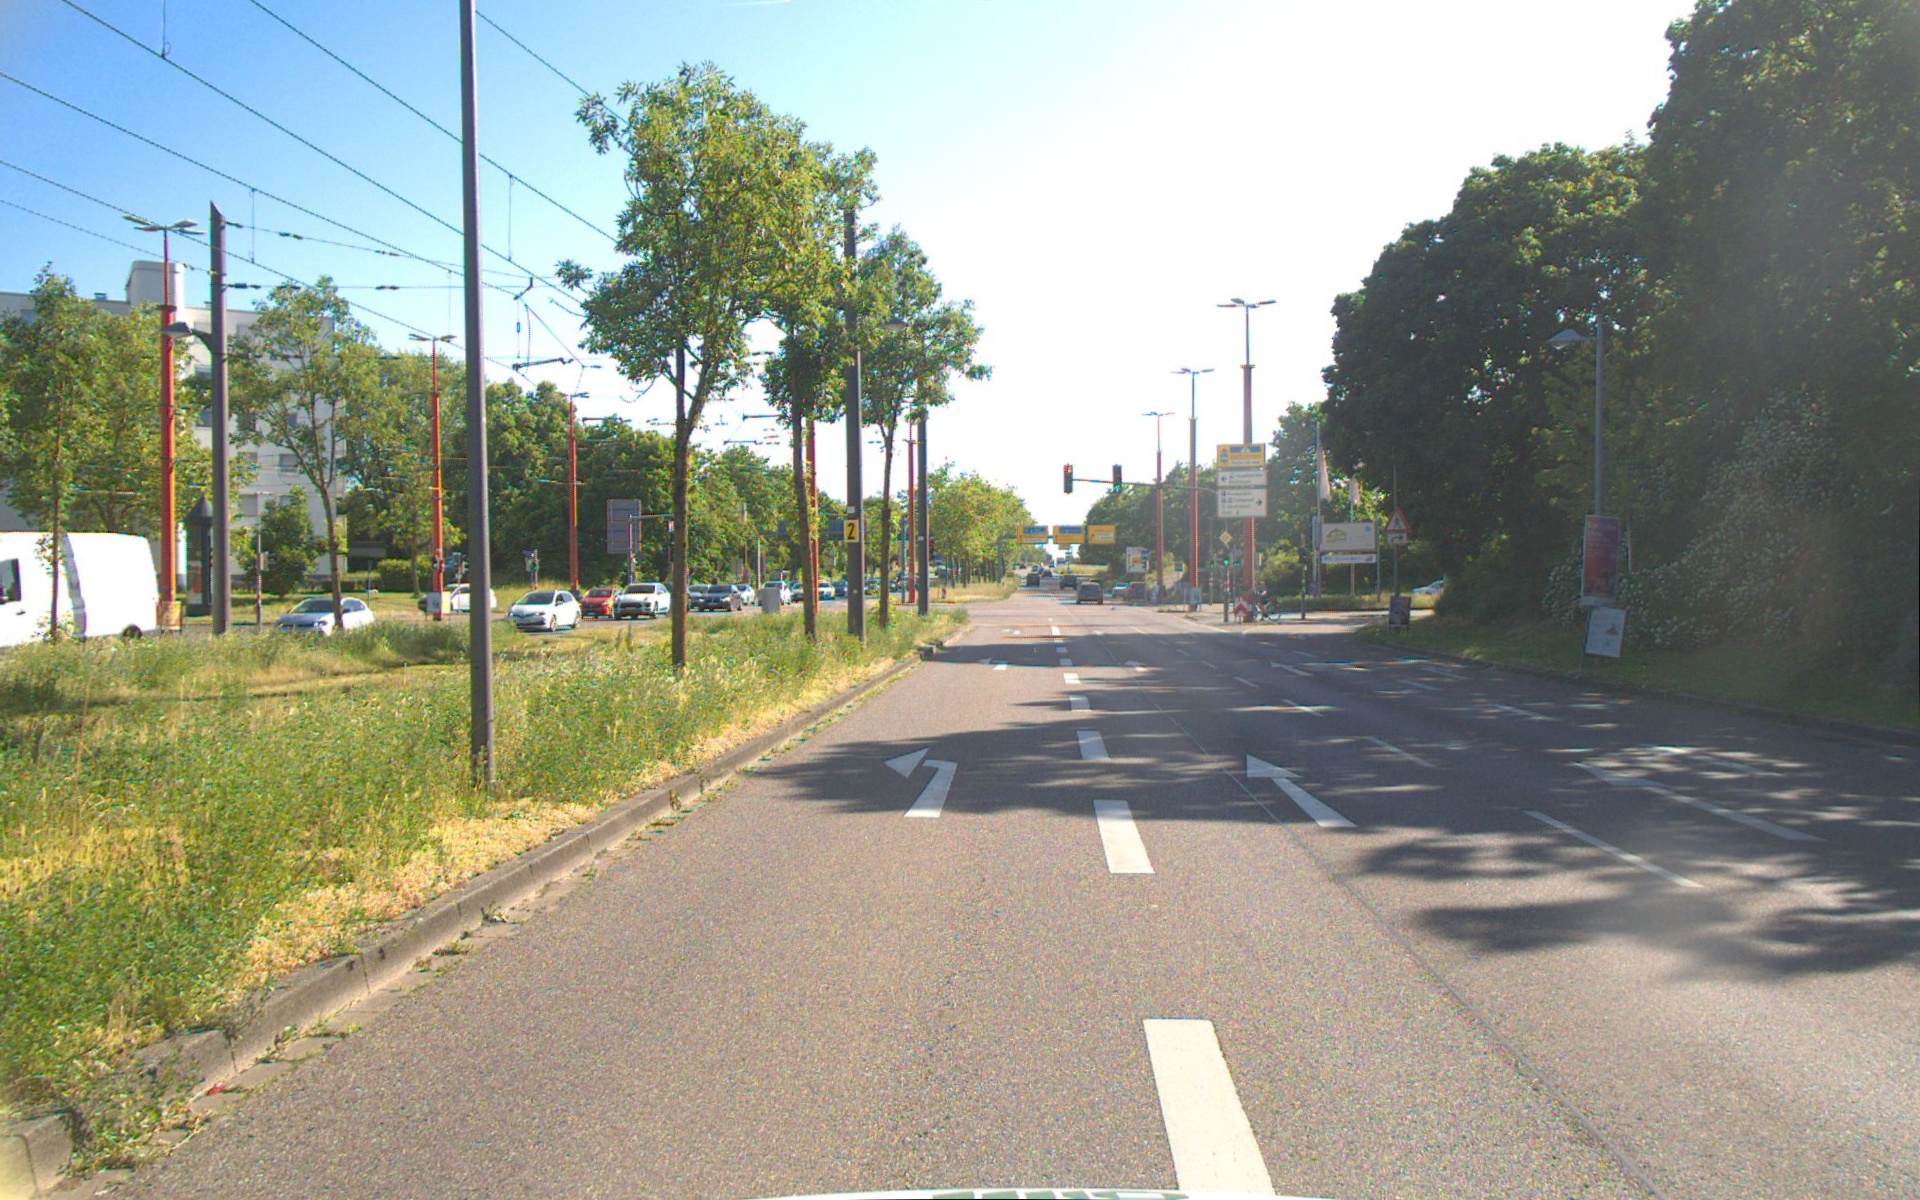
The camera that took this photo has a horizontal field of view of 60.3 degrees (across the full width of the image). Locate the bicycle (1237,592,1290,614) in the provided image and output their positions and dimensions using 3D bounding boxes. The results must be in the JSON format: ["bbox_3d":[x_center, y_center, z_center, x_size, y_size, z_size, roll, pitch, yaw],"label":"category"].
[{"bbox_3d":[12.911,0.117,70.374,2.121,0.894,0.559,1,0,-9],"label":"bicycle"}]

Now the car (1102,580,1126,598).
[{"bbox_3d":[13.773,-1.028,148.192,1.952,1.567,4.002,1,0,3],"label":"car"}]

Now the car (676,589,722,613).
[{"bbox_3d":[-16.311,0.029,103.540,1.952,1.457,4.695,-1,0,2],"label":"car"}]

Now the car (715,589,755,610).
[{"bbox_3d":[-15.759,-0.063,116.082,1.951,1.398,4.403,1,0,4],"label":"car"}]

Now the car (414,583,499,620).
[{"bbox_3d":[-28.972,0.063,95.304,1.960,2.049,4.390,0,1,36],"label":"car"}]

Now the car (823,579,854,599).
[{"bbox_3d":[-10.458,-0.947,142.733,1.951,1.622,4.466,-1,1,4],"label":"car"}]

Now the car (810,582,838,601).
[{"bbox_3d":[-10.910,-0.707,133.029,1.668,1.447,4.645,-1,0,2],"label":"car"}]

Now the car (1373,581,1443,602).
[{"bbox_3d":[30.182,-0.570,111.491,4.285,1.395,2.062,0,0,4],"label":"car"}]

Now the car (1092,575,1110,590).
[{"bbox_3d":[16.320,-2.017,191.779,1.952,1.567,4.001,1,0,3],"label":"car"}]

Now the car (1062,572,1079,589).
[{"bbox_3d":[13.927,-2.476,208.992,2.109,2.049,4.002,0,1,3],"label":"car"}]

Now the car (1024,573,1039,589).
[{"bbox_3d":[9.691,-2.547,224.206,1.952,2.049,4.001,1,0,2],"label":"car"}]

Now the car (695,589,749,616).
[{"bbox_3d":[-13.210,0.133,92.125,1.952,1.434,4.993,1,0,4],"label":"car"}]

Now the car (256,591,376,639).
[{"bbox_3d":[-18.916,0.422,48.734,1.760,1.315,4.002,1,0,3],"label":"car"}]

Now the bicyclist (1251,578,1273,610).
[{"bbox_3d":[12.843,-0.249,70.332,0.725,1.365,0.707,1,0,-7],"label":"bicyclist"}]

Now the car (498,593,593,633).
[{"bbox_3d":[-15.427,0.449,61.833,1.859,1.422,4.547,1,0,8],"label":"car"}]

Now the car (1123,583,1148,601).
[{"bbox_3d":[13.636,-0.600,128.648,1.702,1.365,3.083,0,0,3],"label":"car"}]

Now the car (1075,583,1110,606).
[{"bbox_3d":[9.068,-0.392,113.528,1.953,1.523,3.999,0,0,-2],"label":"car"}]

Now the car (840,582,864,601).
[{"bbox_3d":[-10.223,-0.834,156.480,1.763,1.737,4.061,-1,0,3],"label":"car"}]

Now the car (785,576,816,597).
[{"bbox_3d":[-11.808,-1.020,122.658,1.556,1.498,4.185,-2,1,4],"label":"car"}]

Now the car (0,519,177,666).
[{"bbox_3d":[-16.542,-0.149,29.091,1.997,2.410,6.883,1,0,2],"label":"car"}]

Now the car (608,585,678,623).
[{"bbox_3d":[-14.303,0.160,74.826,1.854,1.650,4.660,1,0,5],"label":"car"}]

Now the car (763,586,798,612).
[{"bbox_3d":[-11.879,-0.089,109.557,1.726,1.636,3.759,-1,0,3],"label":"car"}]

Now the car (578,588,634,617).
[{"bbox_3d":[-16.876,0.121,79.024,1.623,1.320,4.178,1,0,2],"label":"car"}]

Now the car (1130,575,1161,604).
[{"bbox_3d":[12.476,-0.697,111.112,1.951,1.920,4.003,0,0,8],"label":"car"}]
